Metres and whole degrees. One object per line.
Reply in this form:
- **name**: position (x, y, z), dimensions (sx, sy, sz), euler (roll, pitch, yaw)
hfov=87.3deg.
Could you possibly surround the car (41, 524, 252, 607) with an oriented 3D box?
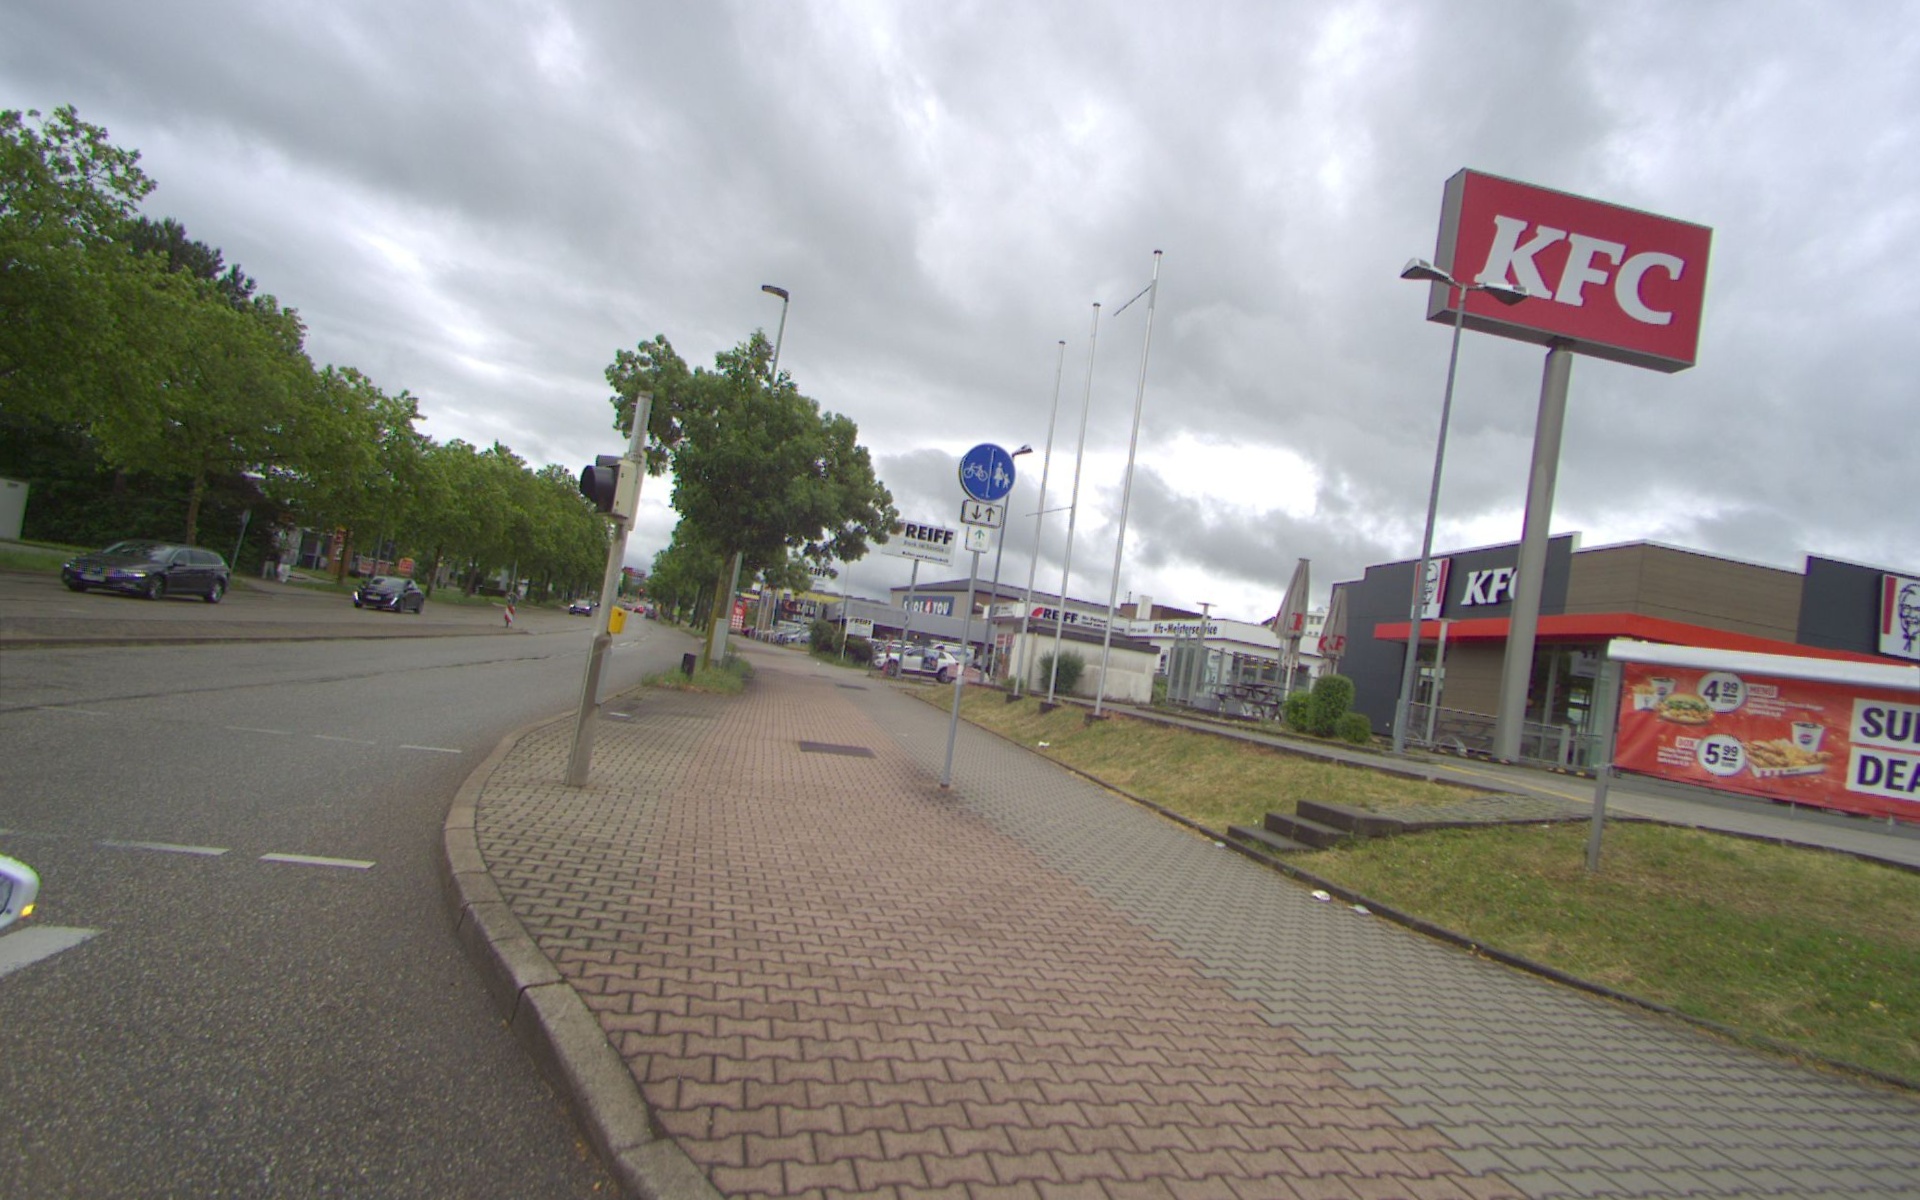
- **car**: position (-20.652, -0.788, 25.869), dimensions (1.967, 1.524, 4.727), euler (8, -3, -9)

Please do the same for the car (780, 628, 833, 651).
- **car**: position (-12.357, 3.177, 80.855), dimensions (3.936, 1.562, 1.808), euler (5, -2, -15)

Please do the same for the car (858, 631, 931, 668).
- **car**: position (-3.996, 3.055, 61.803), dimensions (4.077, 1.682, 1.823), euler (8, -1, 7)

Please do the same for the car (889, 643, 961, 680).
- **car**: position (-2.003, 3.498, 57.278), dimensions (3.869, 1.540, 1.734), euler (8, -3, -2)

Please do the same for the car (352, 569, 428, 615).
- **car**: position (-23.275, -0.274, 41.197), dimensions (1.624, 1.524, 3.884), euler (9, -3, -16)

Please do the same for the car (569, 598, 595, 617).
- **car**: position (-37.222, 0.765, 99.172), dimensions (1.790, 1.578, 4.590), euler (9, -4, -14)

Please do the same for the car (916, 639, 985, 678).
- **car**: position (-0.714, 4.357, 74.717), dimensions (4.602, 2.173, 1.959), euler (9, -3, -17)

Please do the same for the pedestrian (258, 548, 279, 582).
- **pedestrian**: position (-36.291, -1.847, 52.796), dimensions (0.505, 1.701, 0.539), euler (8, -2, -15)

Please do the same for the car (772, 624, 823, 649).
- **car**: position (-13.751, 3.094, 85.146), dimensions (3.936, 1.807, 1.808), euler (5, -2, -15)

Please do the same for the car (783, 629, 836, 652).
- **car**: position (-11.683, 3.126, 78.074), dimensions (3.787, 1.478, 1.822), euler (6, -2, -18)

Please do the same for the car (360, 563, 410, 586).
- **car**: position (-47.420, -2.078, 82.997), dimensions (3.136, 1.166, 1.290), euler (12, -3, -9)

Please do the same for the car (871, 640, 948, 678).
- **car**: position (-2.723, 3.211, 54.642), dimensions (3.928, 1.539, 1.720), euler (8, -3, -2)

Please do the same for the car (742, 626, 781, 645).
- **car**: position (-21.258, 3.805, 107.527), dimensions (3.796, 1.622, 1.790), euler (7, -2, -17)

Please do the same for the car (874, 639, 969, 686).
- **car**: position (-1.844, 2.914, 47.149), dimensions (4.118, 1.568, 1.889), euler (9, -3, -8)

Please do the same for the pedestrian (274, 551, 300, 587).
- **pedestrian**: position (-35.608, -1.643, 53.235), dimensions (0.654, 1.785, 0.584), euler (9, -2, 6)

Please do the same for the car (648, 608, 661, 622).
- **car**: position (-50.676, 2.519, 166.724), dimensions (1.725, 2.035, 3.990), euler (9, -3, -16)
